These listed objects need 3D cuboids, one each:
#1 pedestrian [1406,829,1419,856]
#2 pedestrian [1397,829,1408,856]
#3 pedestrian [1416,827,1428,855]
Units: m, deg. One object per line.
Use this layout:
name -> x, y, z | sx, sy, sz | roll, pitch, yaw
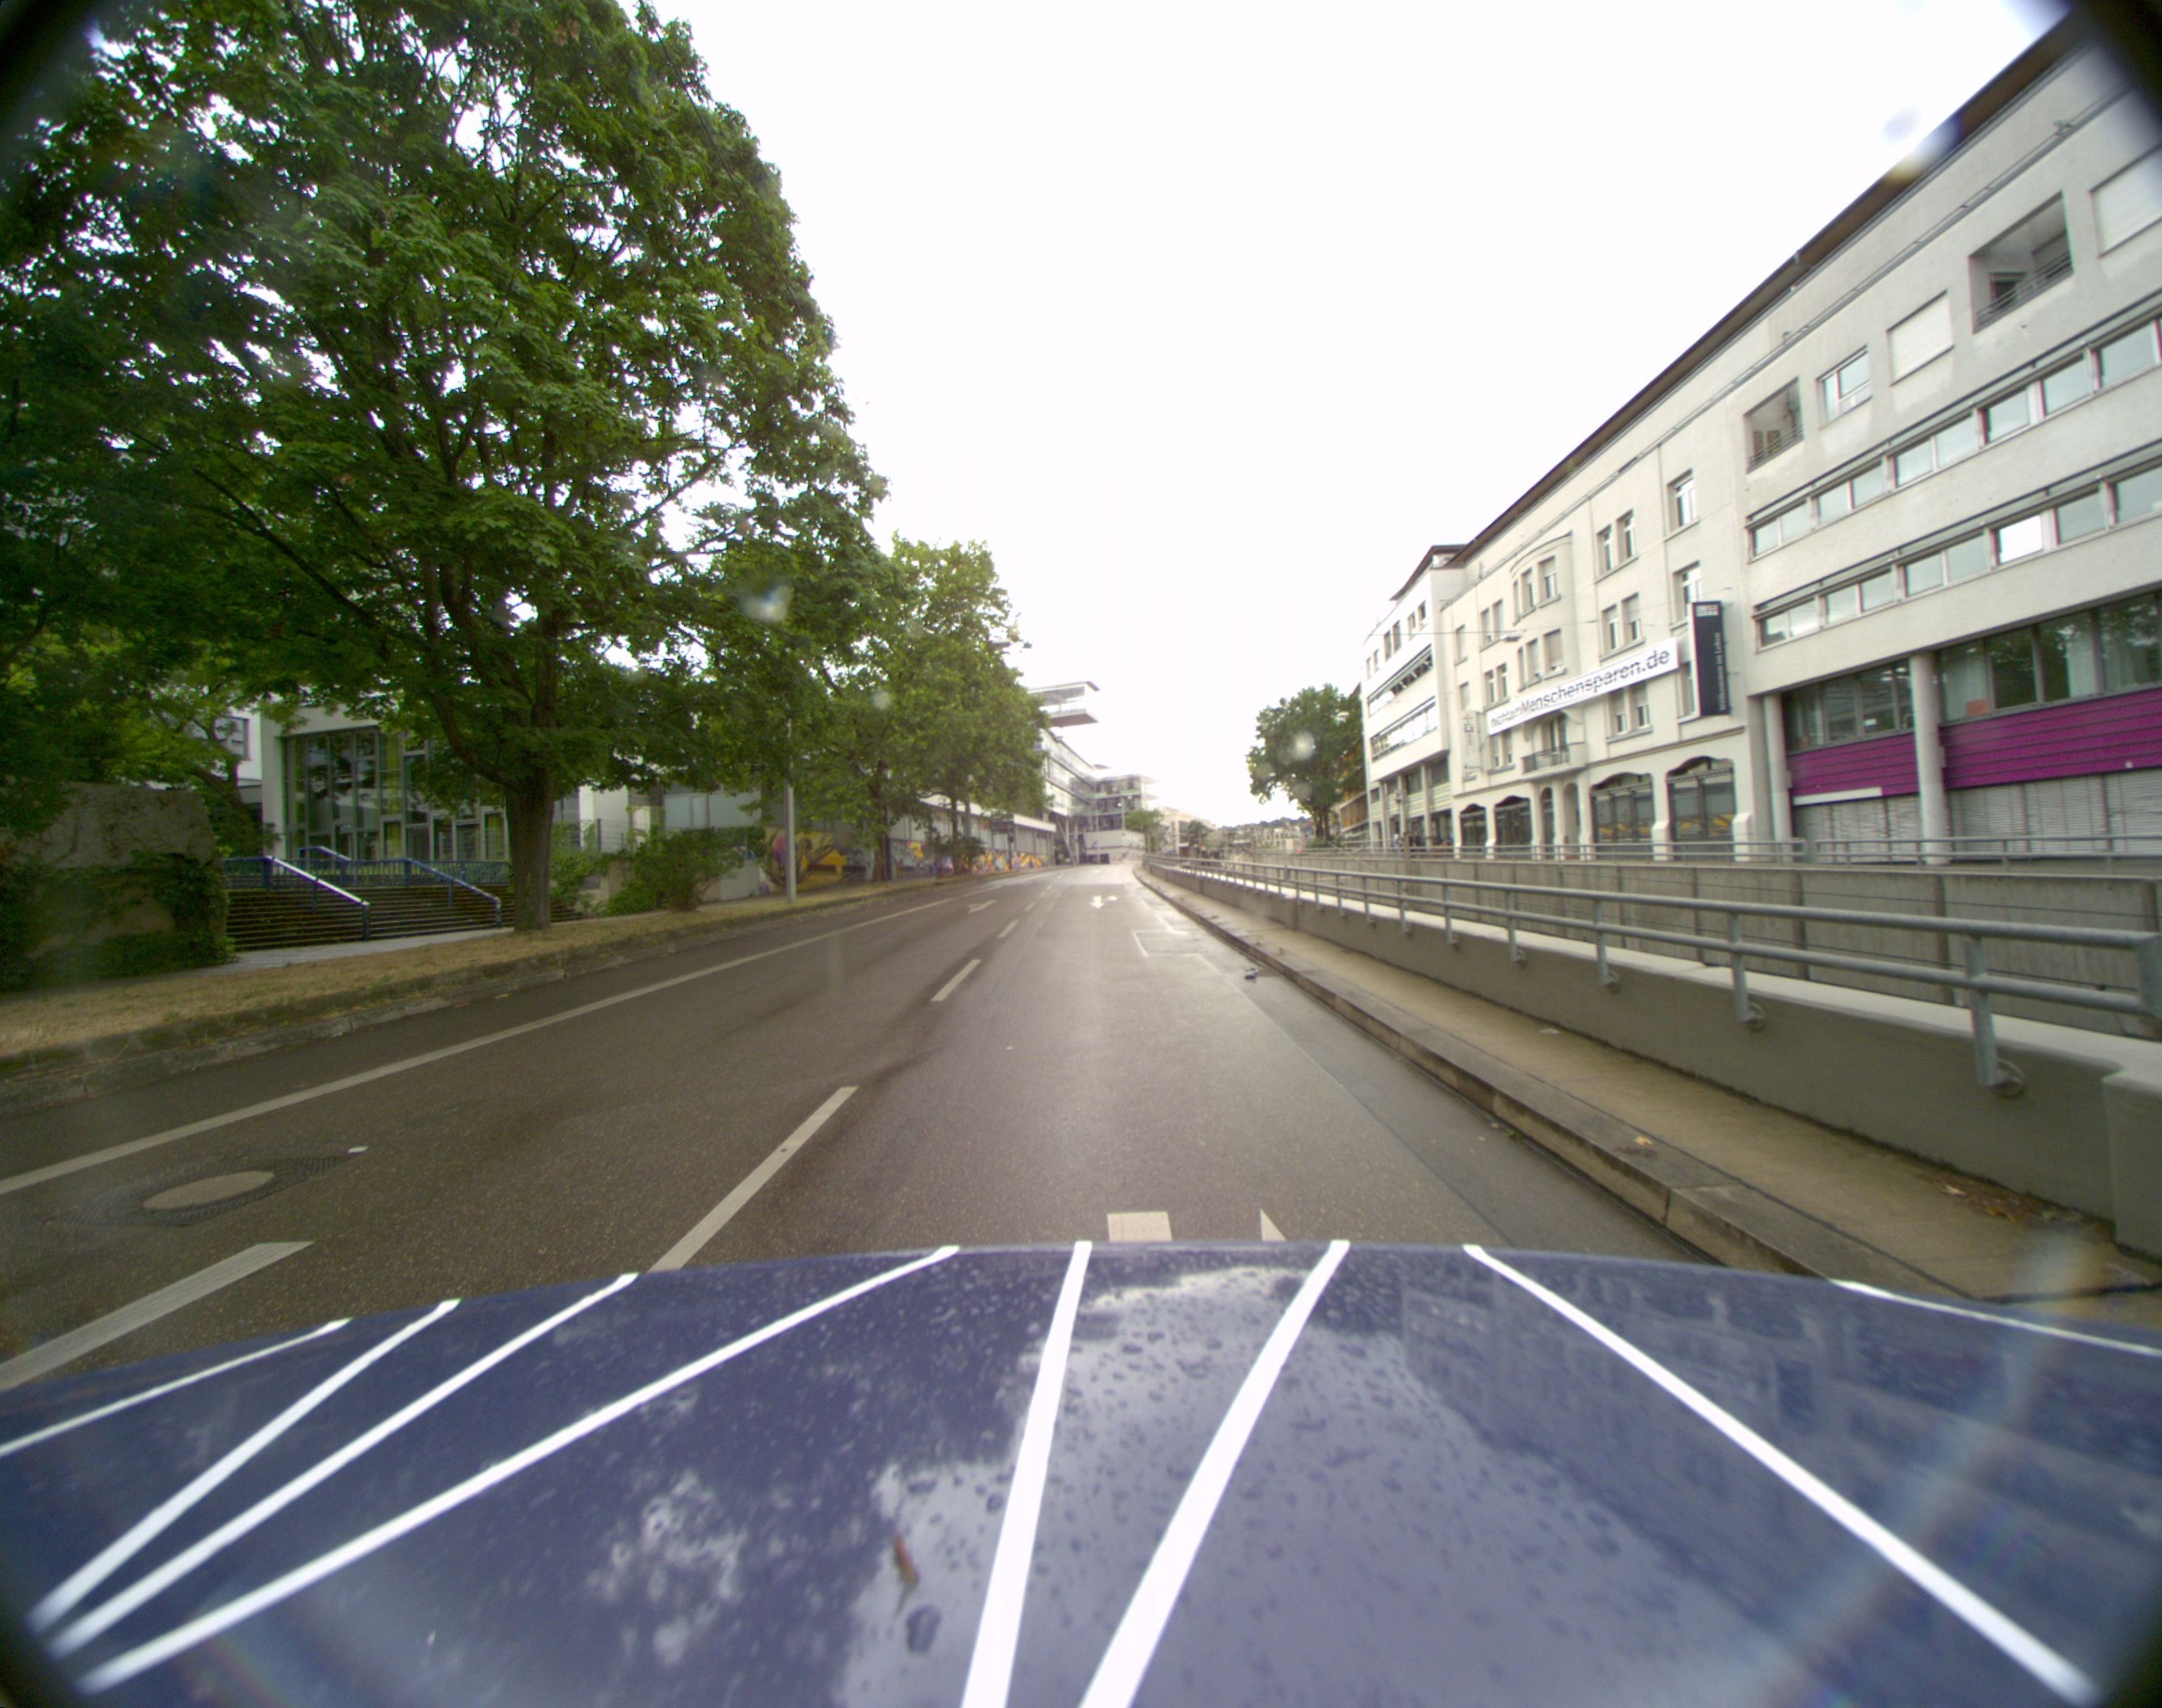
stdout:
pedestrian -> 22.483, -0.786, 51.573 | 0.547, 1.792, 0.470 | -4, 1, -7
pedestrian -> 21.755, -0.763, 51.346 | 0.469, 1.792, 0.548 | -4, 1, 8
pedestrian -> 22.574, -0.861, 50.311 | 0.470, 1.792, 0.547 | -4, 1, 3
